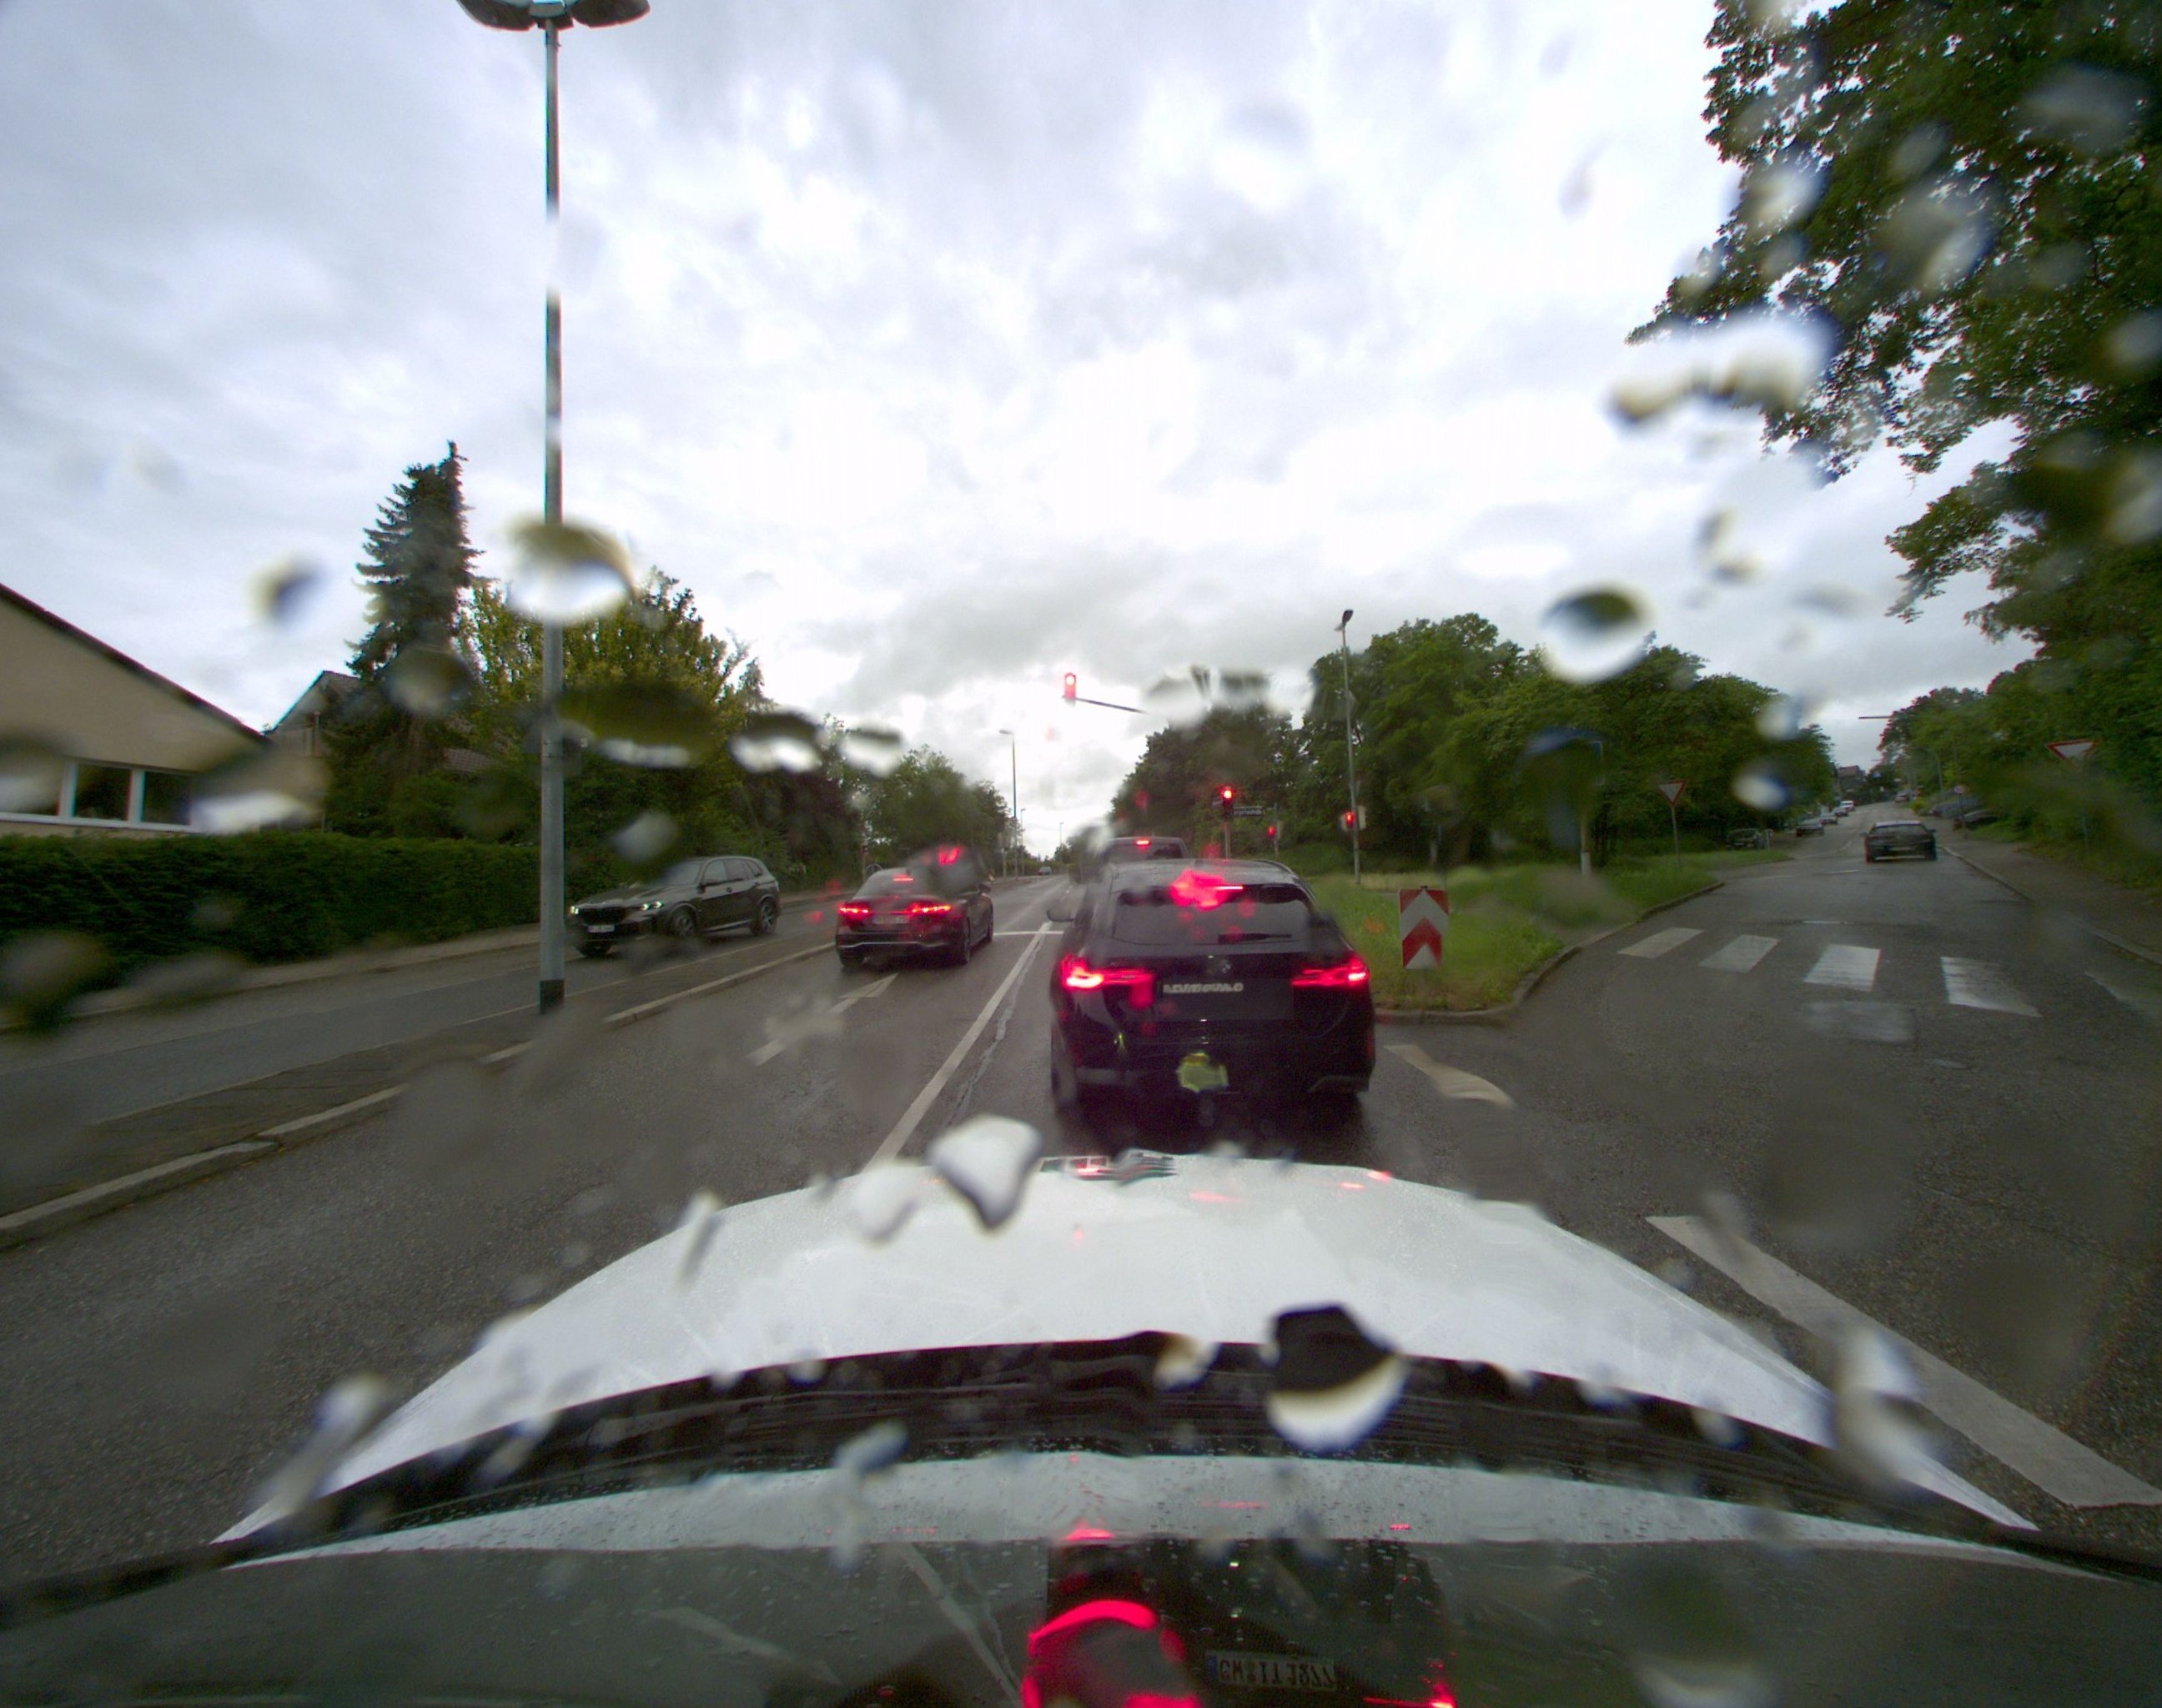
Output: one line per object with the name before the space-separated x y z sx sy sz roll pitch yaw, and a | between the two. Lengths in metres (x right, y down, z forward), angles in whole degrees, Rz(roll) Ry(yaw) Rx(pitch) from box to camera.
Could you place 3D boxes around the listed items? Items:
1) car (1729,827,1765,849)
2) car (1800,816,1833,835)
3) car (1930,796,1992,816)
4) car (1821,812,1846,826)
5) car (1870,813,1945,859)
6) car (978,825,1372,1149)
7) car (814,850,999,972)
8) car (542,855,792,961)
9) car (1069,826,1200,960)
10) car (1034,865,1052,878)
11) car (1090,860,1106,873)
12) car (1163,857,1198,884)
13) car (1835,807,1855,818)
car | 46.036 -1.142 56.280 1.655 1.370 3.512 -3 0 43
car | 66.290 -2.538 73.396 4.318 1.450 1.881 0 -1 -44
car | 87.629 -4.720 81.169 3.949 1.574 1.785 -5 -1 42
car | 88.222 -4.073 95.525 1.971 1.446 4.321 -2 -1 40
car | 30.303 -0.699 29.881 4.187 1.442 1.795 -4 1 -44
car | 0.657 0.693 6.278 1.889 1.551 4.621 -1 -1 5
car | -2.585 0.801 13.236 1.987 1.527 4.326 -4 -1 0
car | -7.961 0.937 16.321 1.982 1.717 4.729 -3 0 9
car | 0.841 0.570 13.465 1.811 1.868 3.954 -1 -1 2
car | -5.940 2.720 128.168 1.982 1.826 4.009 -4 -1 8
car | 2.025 1.451 93.767 1.691 1.427 3.515 -4 -1 2
car | 6.345 1.027 52.421 1.866 1.543 3.954 -4 -1 2
car | 114.516 -6.248 122.049 1.880 1.397 4.193 -2 -1 40
